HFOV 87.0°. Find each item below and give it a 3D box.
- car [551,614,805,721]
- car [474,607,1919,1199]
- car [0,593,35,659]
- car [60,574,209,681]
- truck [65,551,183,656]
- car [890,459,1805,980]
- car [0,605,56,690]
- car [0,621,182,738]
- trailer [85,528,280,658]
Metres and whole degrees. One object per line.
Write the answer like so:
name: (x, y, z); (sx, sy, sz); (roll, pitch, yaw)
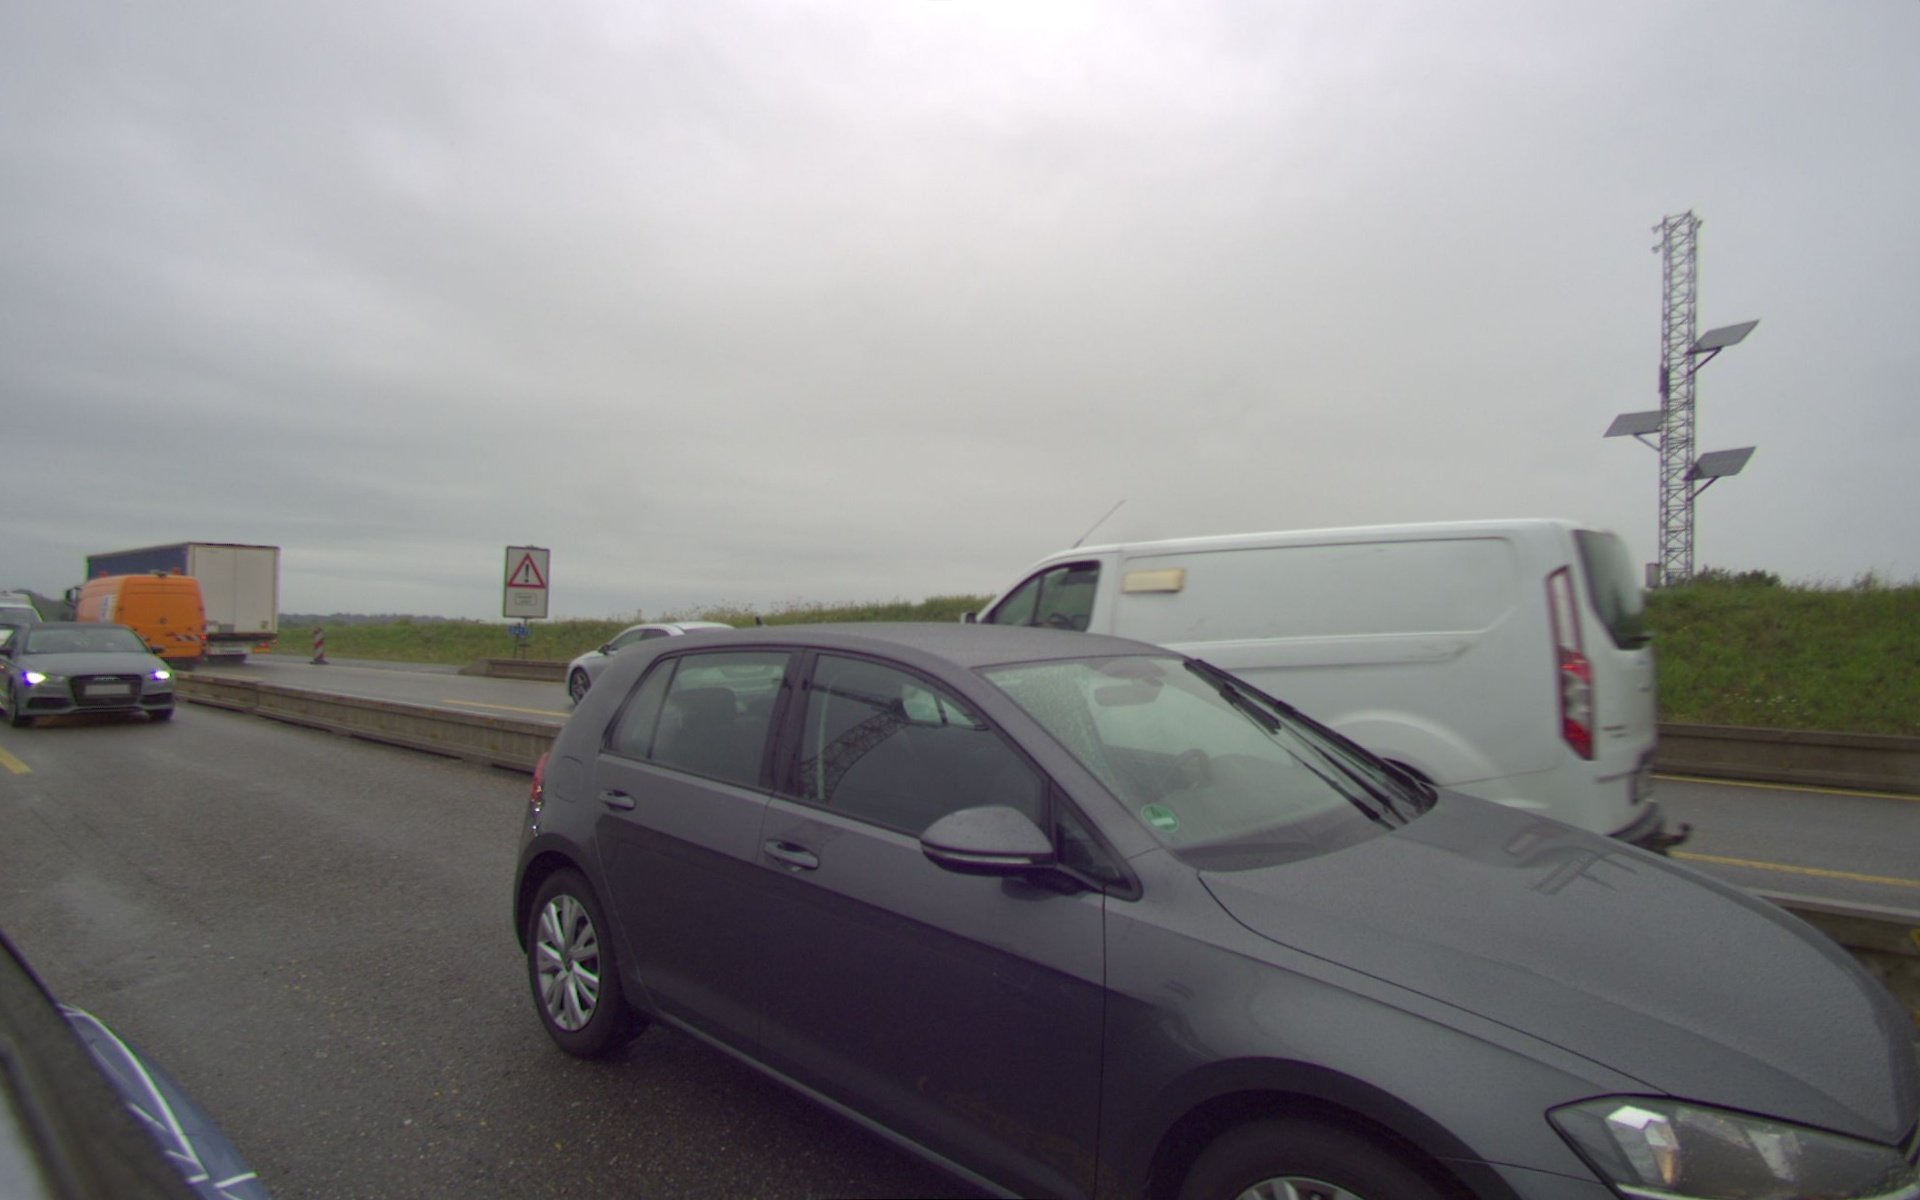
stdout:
car: (-4.774, 1.005, 16.768); (4.535, 1.512, 1.972); (-1, -1, 42)
car: (0.339, 0.746, 2.886); (4.078, 1.433, 1.632); (0, -1, 41)
car: (-42.042, 1.163, 43.844); (6.877, 2.674, 1.986); (-2, -1, 40)
car: (-22.717, 0.748, 27.709); (7.017, 2.597, 2.032); (-2, -1, 41)
truck: (-34.779, 0.219, 42.031); (5.814, 4.065, 2.760); (-2, -1, 40)
car: (2.008, 0.485, 6.310); (4.967, 2.015, 1.973); (-1, -1, 41)
car: (-23.146, 1.051, 23.845); (5.177, 1.873, 2.133); (0, 0, 41)
car: (-13.140, 1.053, 14.971); (4.267, 1.407, 1.776); (0, 0, 41)
trailer: (-28.840, -0.033, 37.116); (13.728, 4.065, 2.751); (-2, -1, 40)
